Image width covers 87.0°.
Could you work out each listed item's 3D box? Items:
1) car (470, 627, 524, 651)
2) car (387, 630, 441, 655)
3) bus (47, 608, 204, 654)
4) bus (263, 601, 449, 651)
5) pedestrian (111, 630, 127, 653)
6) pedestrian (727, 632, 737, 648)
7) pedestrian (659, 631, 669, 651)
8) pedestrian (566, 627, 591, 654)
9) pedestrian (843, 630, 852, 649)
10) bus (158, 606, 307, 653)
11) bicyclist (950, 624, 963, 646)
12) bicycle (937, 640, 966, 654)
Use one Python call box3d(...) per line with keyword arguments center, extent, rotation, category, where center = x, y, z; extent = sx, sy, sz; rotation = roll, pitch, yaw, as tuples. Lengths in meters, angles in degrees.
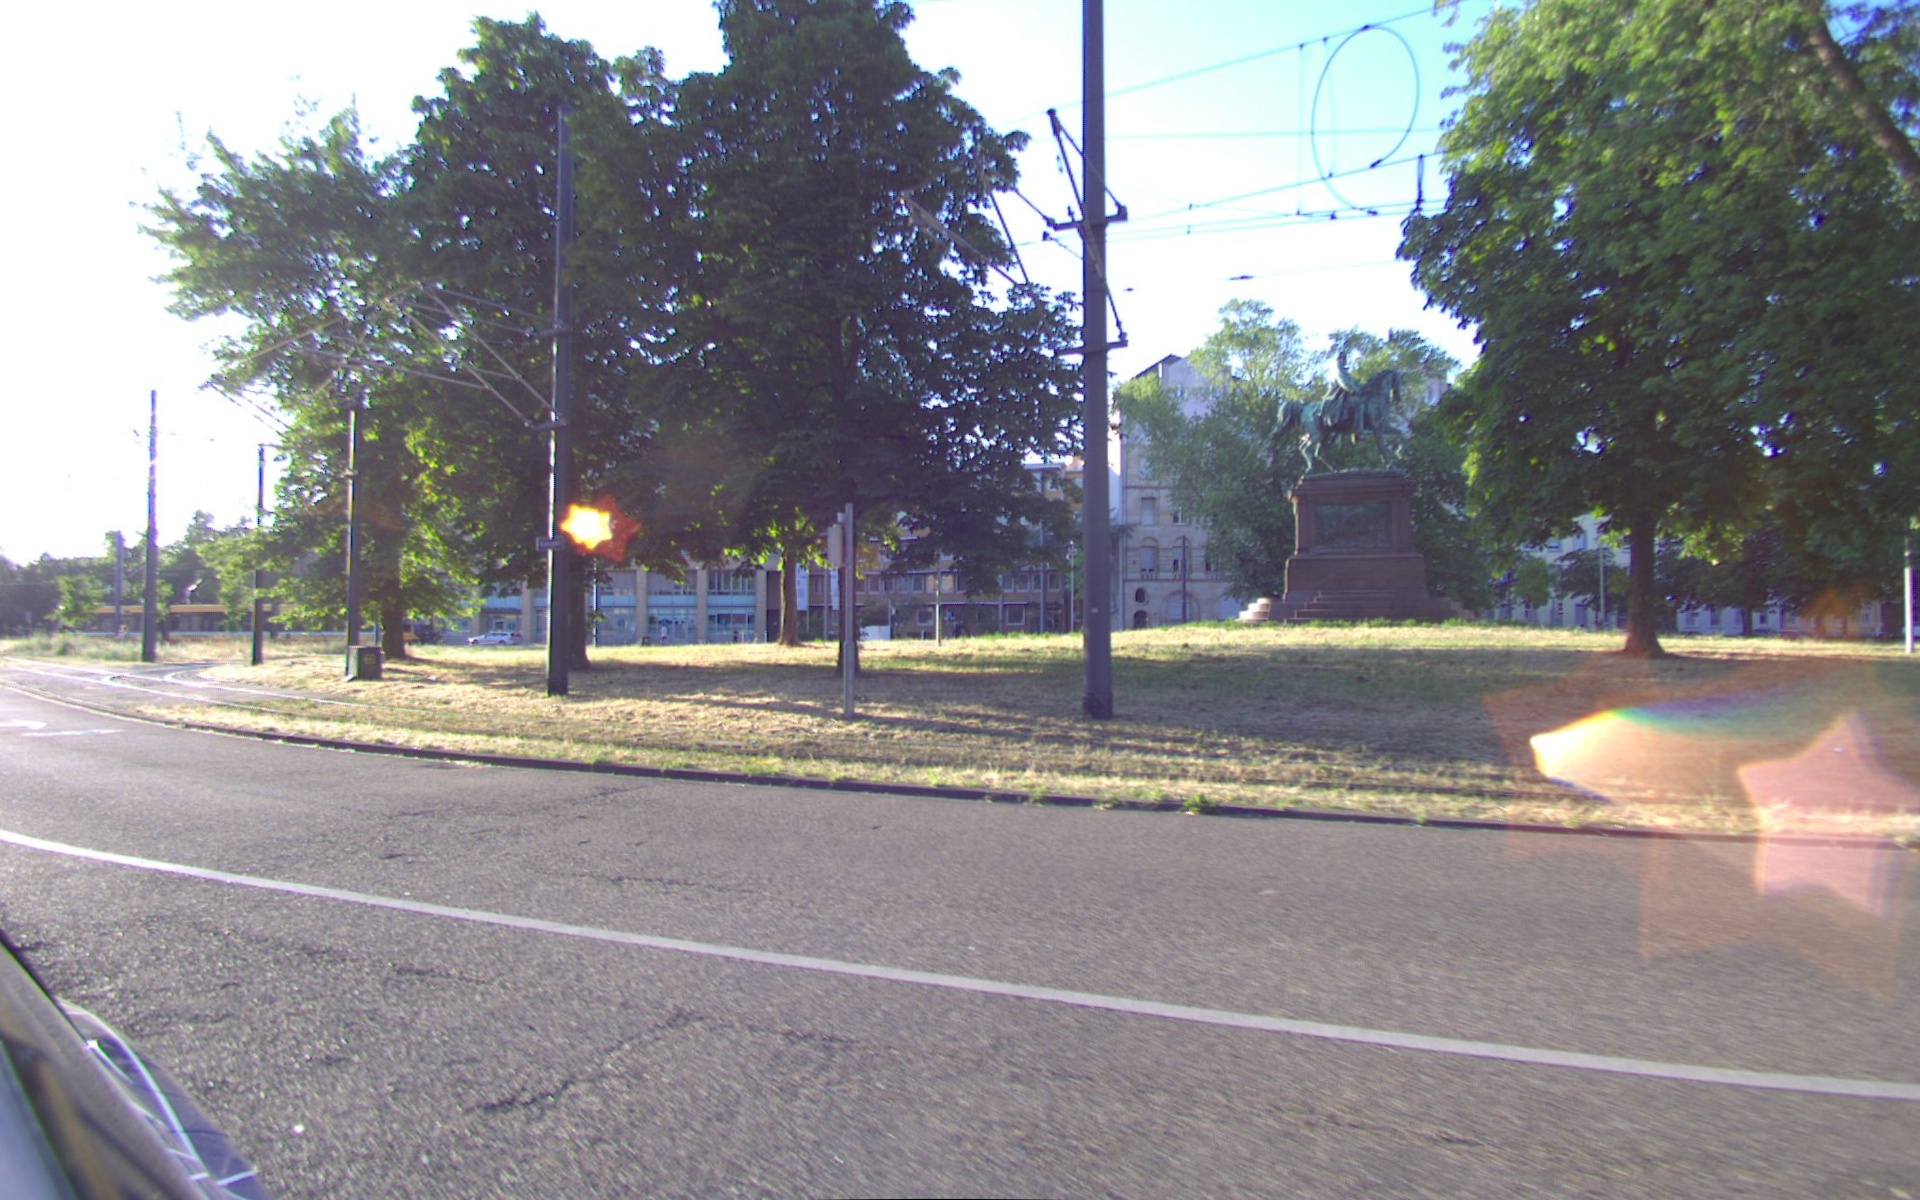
box3d(center=(-40.186, 3.392, 87.877), extent=(3.868, 2.029, 1.849), rotation=(-1, -1, 10), category="car")
box3d(center=(-48.429, 3.768, 89.793), extent=(3.956, 2.029, 1.905), rotation=(-1, -1, 10), category="car")
box3d(center=(-67.895, 2.528, 82.348), extent=(12.021, 3.482, 3.742), rotation=(-2, -1, 16), category="bus")
box3d(center=(-45.337, 1.965, 75.959), extent=(13.588, 3.388, 3.742), rotation=(-2, -1, 16), category="bus")
box3d(center=(-54.231, 2.667, 65.282), extent=(0.698, 1.470, 0.664), rotation=(-2, -2, 36), category="pedestrian")
box3d(center=(-19.236, 3.391, 85.358), extent=(0.677, 1.334, 0.565), rotation=(-2, -1, 12), category="pedestrian")
box3d(center=(-25.519, 3.561, 87.191), extent=(0.614, 1.705, 0.527), rotation=(-2, -1, 23), category="pedestrian")
box3d(center=(-31.301, 3.333, 83.051), extent=(1.614, 2.110, 1.057), rotation=(-1, -1, 6), category="pedestrian")
box3d(center=(-9.377, 3.277, 84.031), extent=(0.570, 1.550, 0.564), rotation=(-2, -1, 13), category="pedestrian")
box3d(center=(-56.976, 2.309, 79.286), extent=(10.639, 3.356, 3.742), rotation=(-2, -1, 16), category="bus")
box3d(center=(-0.297, 2.723, 79.501), extent=(0.884, 1.703, 0.954), rotation=(-1, -1, -6), category="bicyclist")
box3d(center=(-0.681, 3.669, 79.436), extent=(2.167, 1.018, 0.473), rotation=(-2, -1, -6), category="bicycle")
